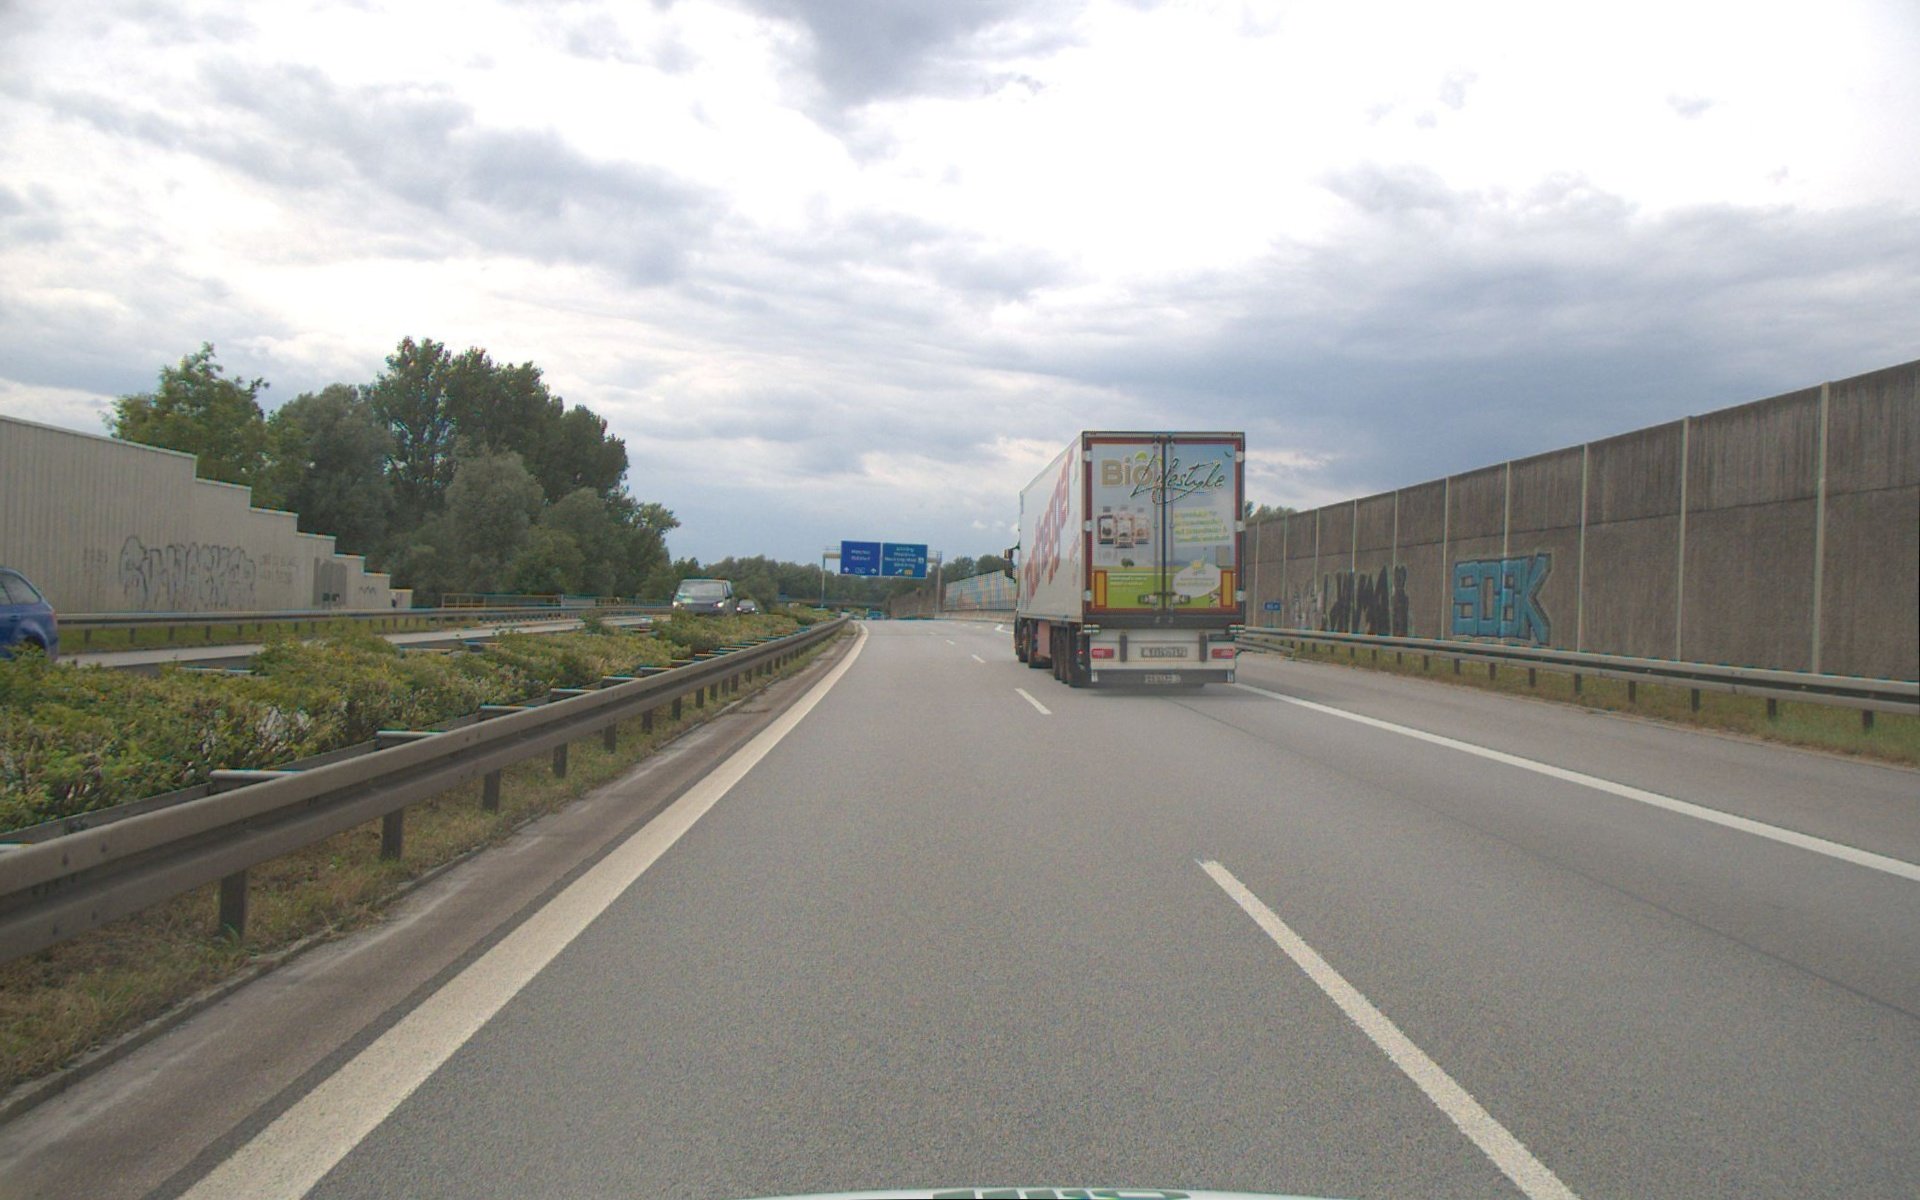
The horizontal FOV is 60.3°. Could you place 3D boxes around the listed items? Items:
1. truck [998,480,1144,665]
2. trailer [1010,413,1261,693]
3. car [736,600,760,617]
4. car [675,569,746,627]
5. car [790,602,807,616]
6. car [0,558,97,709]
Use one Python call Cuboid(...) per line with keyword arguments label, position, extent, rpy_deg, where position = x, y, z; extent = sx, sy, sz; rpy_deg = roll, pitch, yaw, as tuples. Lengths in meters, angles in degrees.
Cuboid(label="truck", position=(2.497, -0.606, 38.987), extent=(2.701, 4.029, 5.672), rpy_deg=(0, 0, -4))
Cuboid(label="trailer", position=(2.880, -0.709, 32.180), extent=(2.737, 4.248, 14.095), rpy_deg=(0, 0, -3))
Cuboid(label="car", position=(-19.324, 0.765, 150.843), extent=(1.931, 1.428, 4.706), rpy_deg=(0, 0, -4))
Cuboid(label="car", position=(-8.622, -0.068, 57.442), extent=(1.953, 1.919, 4.553), rpy_deg=(0, 0, -2))
Cuboid(label="car", position=(-18.728, 1.001, 191.484), extent=(1.804, 1.557, 4.831), rpy_deg=(0, 0, -4))
Cuboid(label="car", position=(-10.857, 0.341, 16.927), extent=(1.775, 1.574, 4.515), rpy_deg=(0, 0, -2))
